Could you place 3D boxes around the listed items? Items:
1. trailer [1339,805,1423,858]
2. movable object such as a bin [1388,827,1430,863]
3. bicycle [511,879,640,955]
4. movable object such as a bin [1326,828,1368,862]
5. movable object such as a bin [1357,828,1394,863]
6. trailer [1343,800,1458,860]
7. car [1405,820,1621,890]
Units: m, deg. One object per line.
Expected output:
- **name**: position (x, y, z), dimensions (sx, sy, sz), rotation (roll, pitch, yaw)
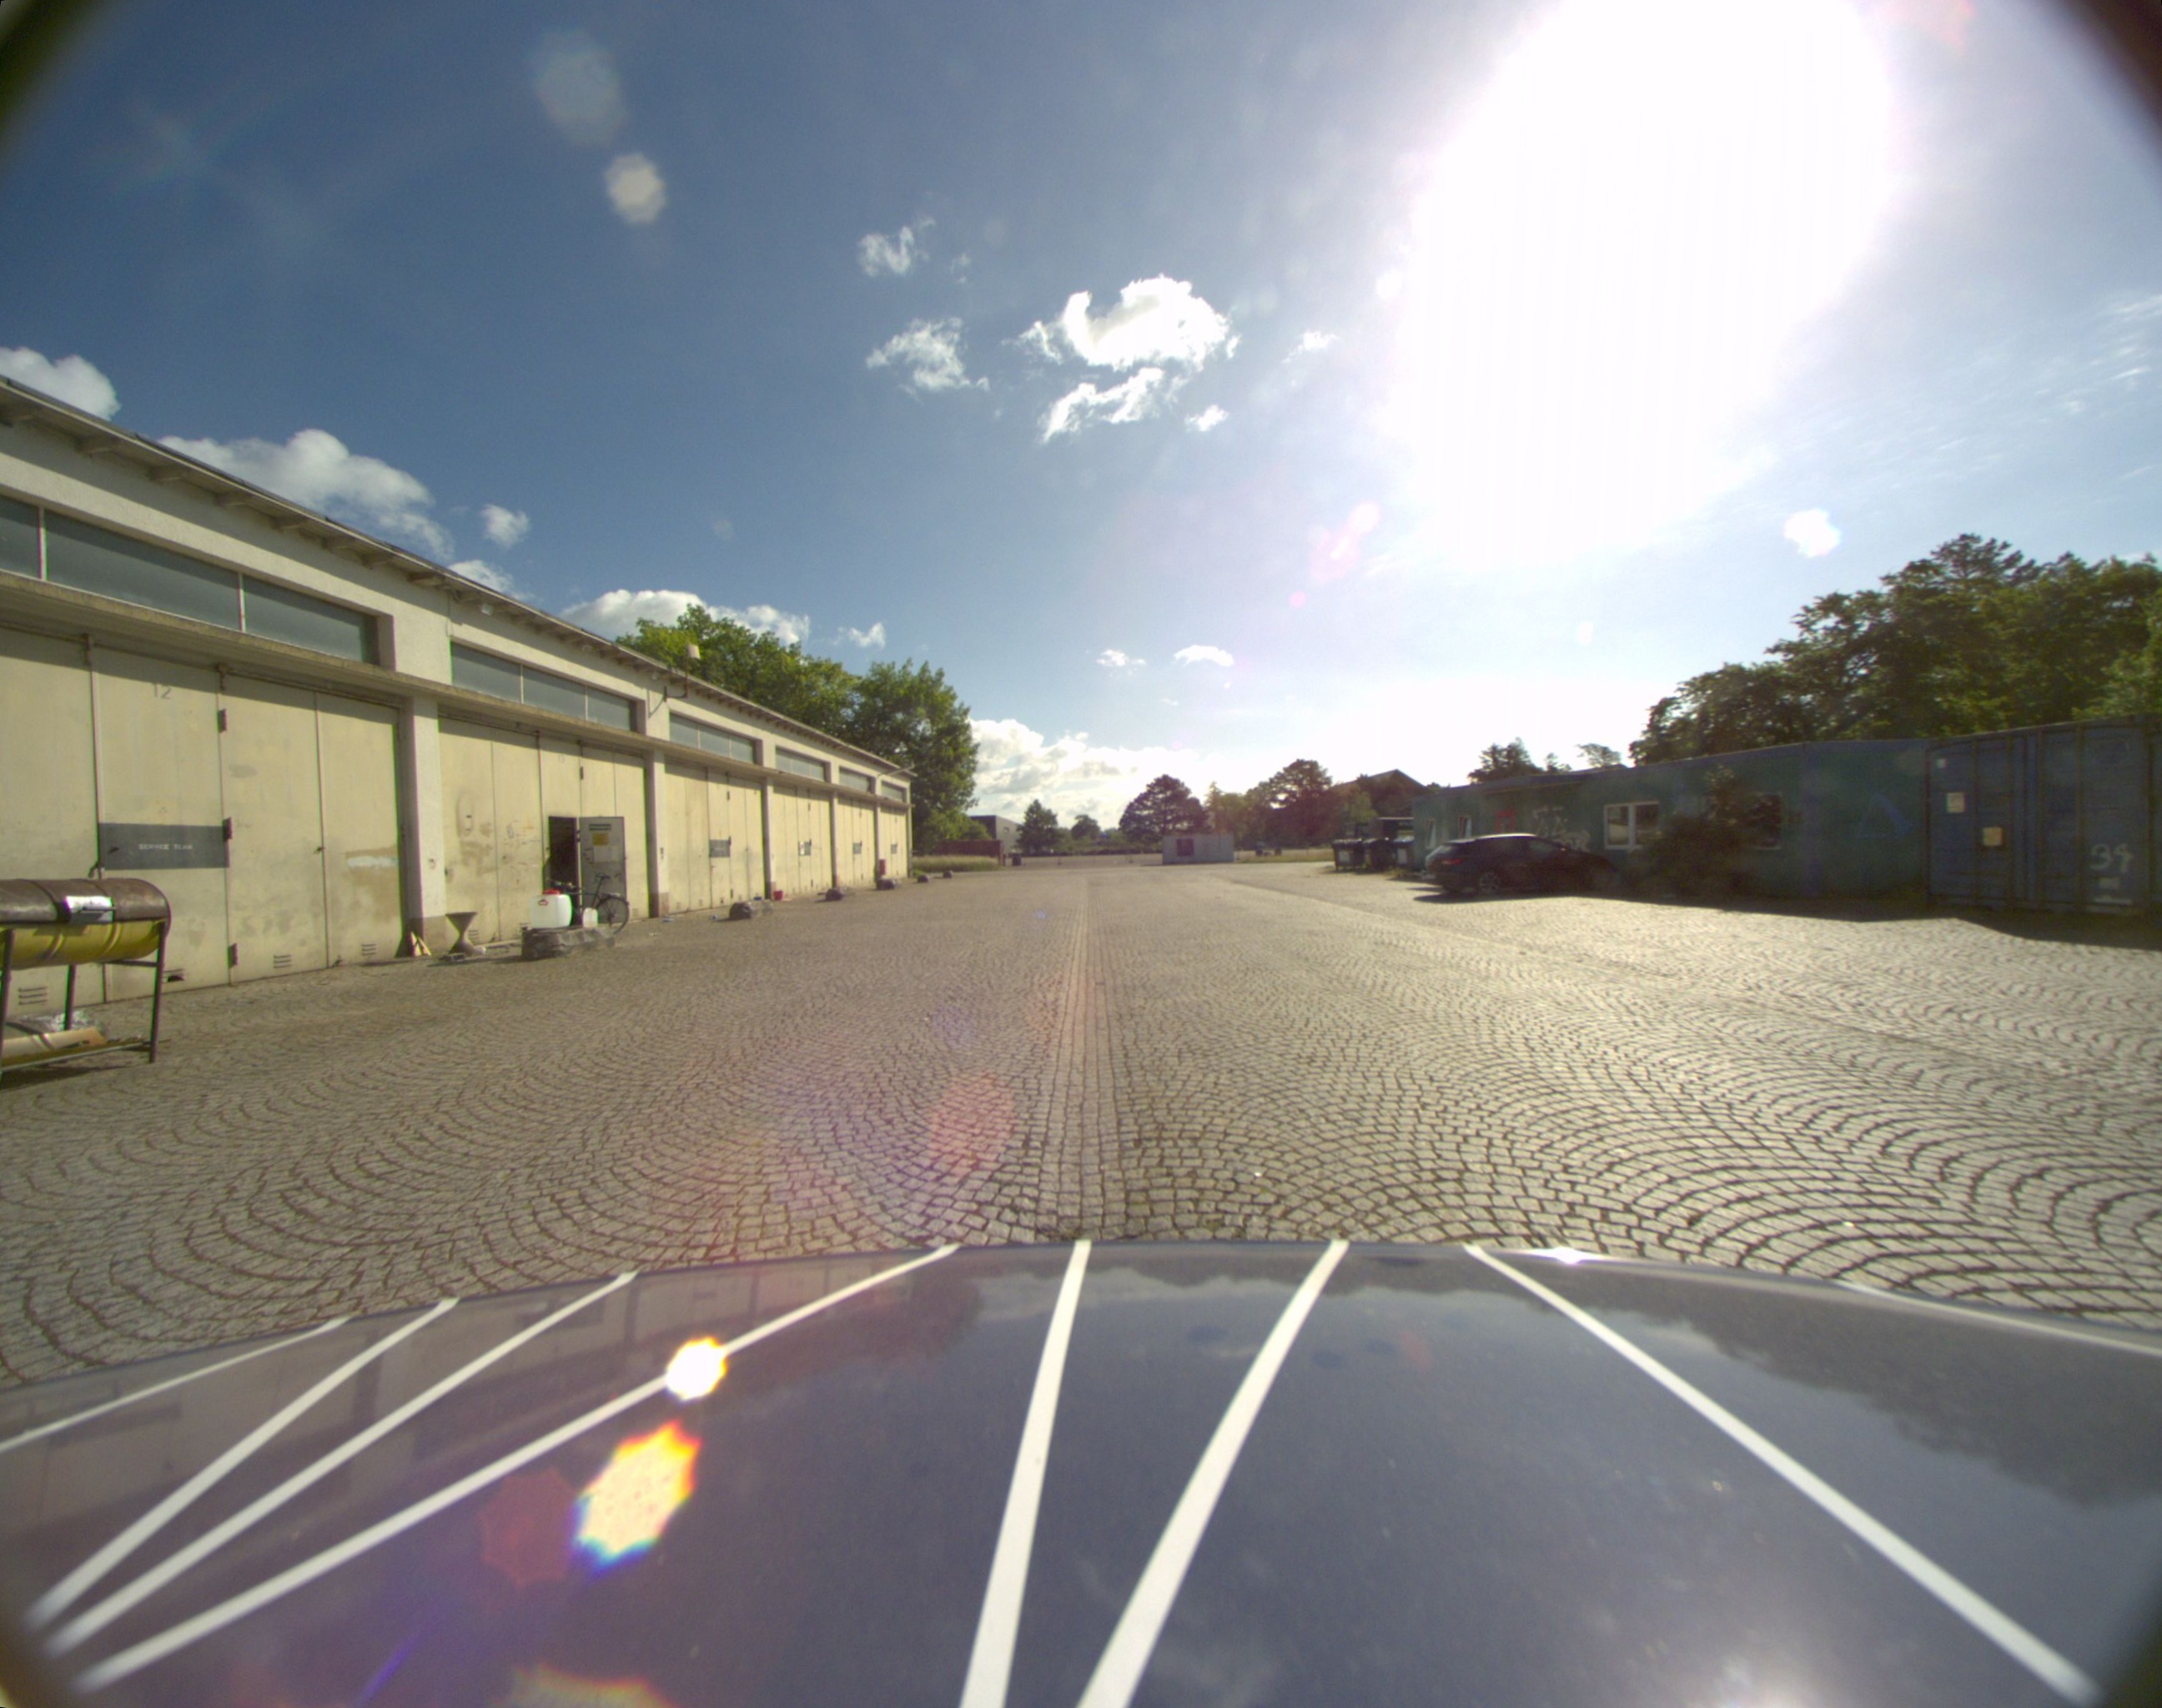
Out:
- **trailer**: position (15.290, -1.137, 38.860), dimensions (3.393, 2.456, 2.044), rotation (-3, 2, 1)
- **movable object such as a bin**: position (13.586, -0.379, 31.496), dimensions (0.885, 1.450, 1.439), rotation (-3, 2, -10)
- **bicycle**: position (-8.597, 1.041, 13.031), dimensions (0.665, 1.062, 1.825), rotation (-3, 2, 13)
- **movable object such as a bin**: position (12.357, -0.418, 35.290), dimensions (1.434, 1.450, 1.158), rotation (-1, 3, 43)
- **movable object such as a bin**: position (12.842, -0.388, 33.178), dimensions (1.020, 1.450, 1.440), rotation (-3, 2, 0)
- **trailer**: position (15.247, -1.158, 36.408), dimensions (4.649, 2.554, 1.950), rotation (-3, 2, -4)
- **car**: position (10.624, -0.006, 18.920), dimensions (4.263, 1.441, 1.930), rotation (-3, 2, -2)
